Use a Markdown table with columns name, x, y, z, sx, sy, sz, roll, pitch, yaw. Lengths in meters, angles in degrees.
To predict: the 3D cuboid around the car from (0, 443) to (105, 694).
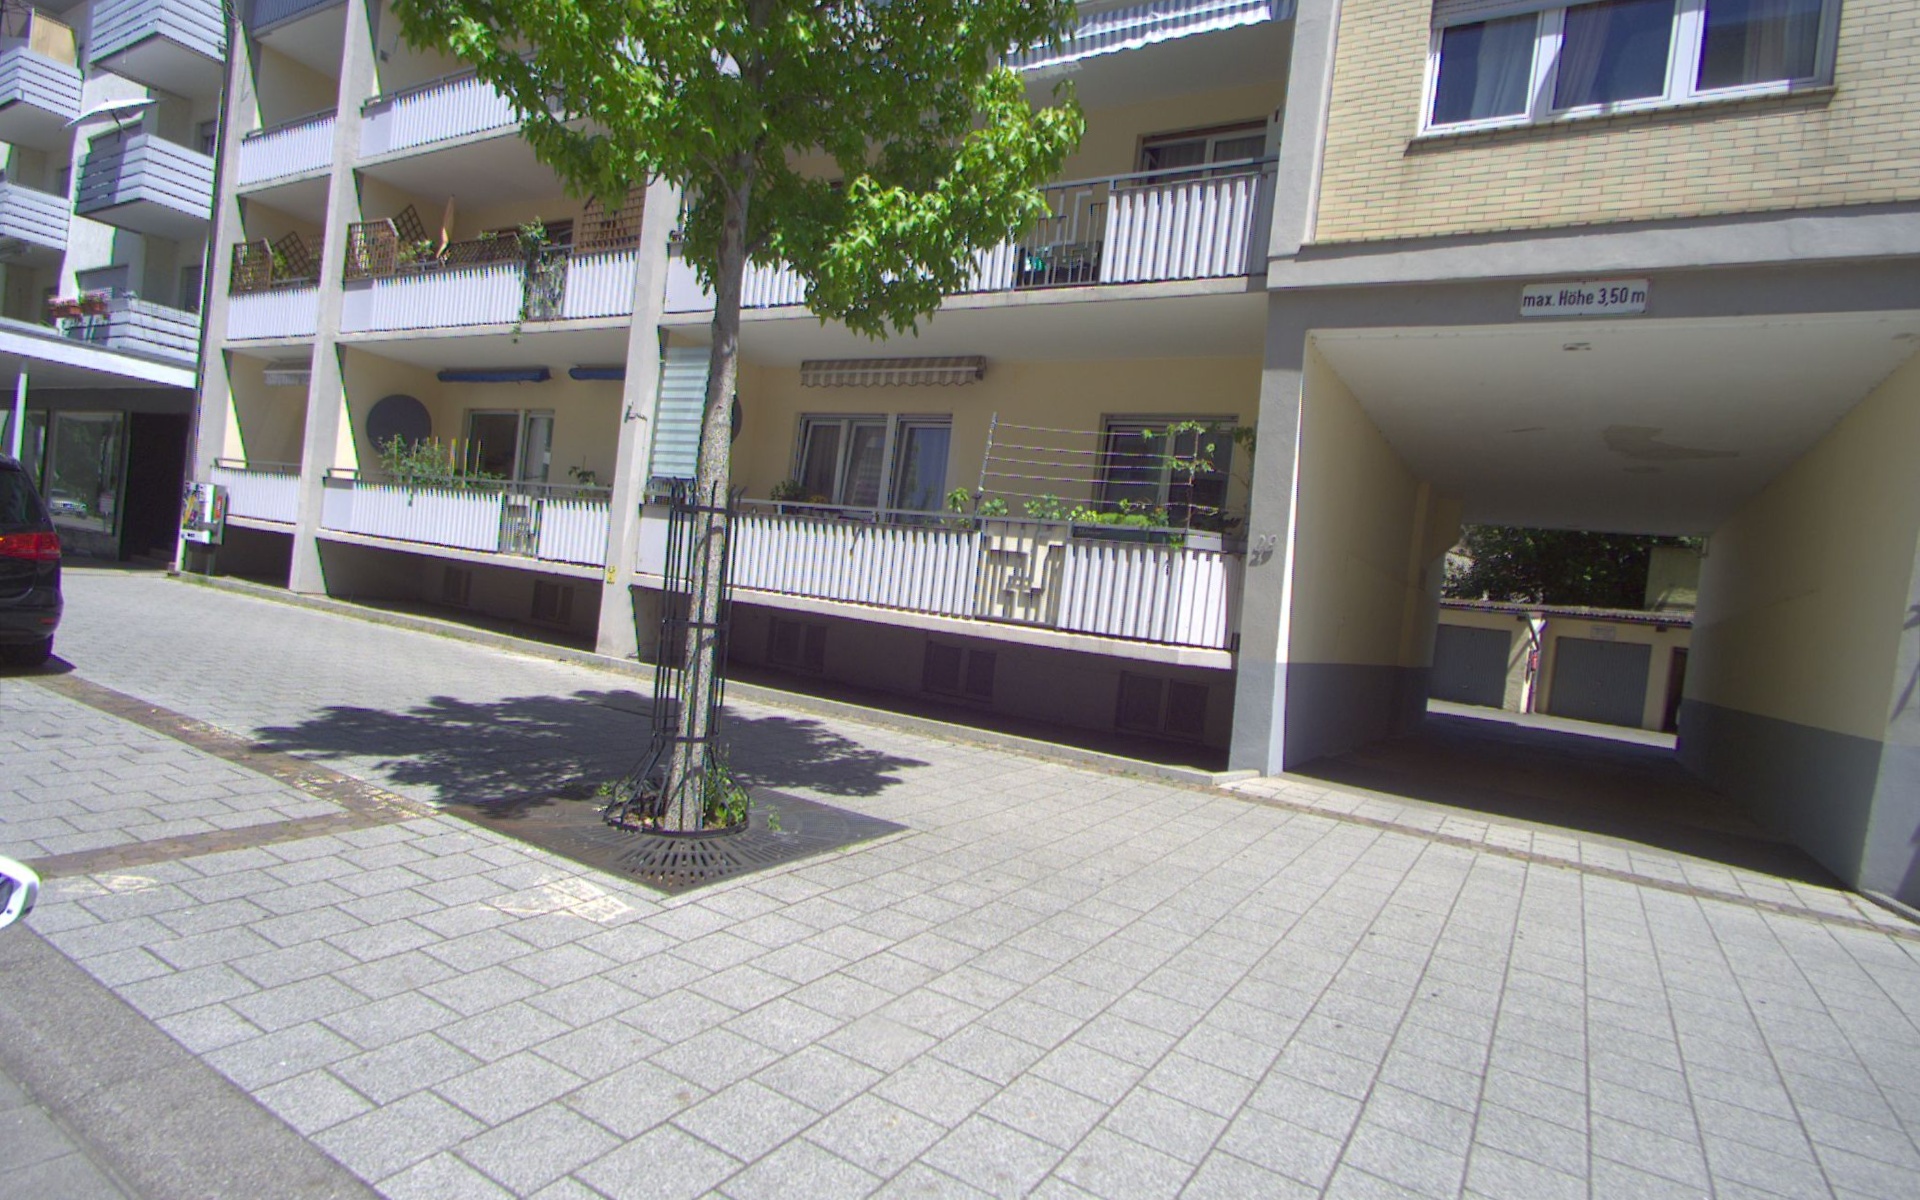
| name | x | y | z | sx | sy | sz | roll | pitch | yaw |
| --- | --- | --- | --- | --- | --- | --- | --- | --- | --- |
| car | -9.020 | -0.514 | 8.134 | 4.494 | 1.823 | 1.993 | 9 | 3 | 33 |
